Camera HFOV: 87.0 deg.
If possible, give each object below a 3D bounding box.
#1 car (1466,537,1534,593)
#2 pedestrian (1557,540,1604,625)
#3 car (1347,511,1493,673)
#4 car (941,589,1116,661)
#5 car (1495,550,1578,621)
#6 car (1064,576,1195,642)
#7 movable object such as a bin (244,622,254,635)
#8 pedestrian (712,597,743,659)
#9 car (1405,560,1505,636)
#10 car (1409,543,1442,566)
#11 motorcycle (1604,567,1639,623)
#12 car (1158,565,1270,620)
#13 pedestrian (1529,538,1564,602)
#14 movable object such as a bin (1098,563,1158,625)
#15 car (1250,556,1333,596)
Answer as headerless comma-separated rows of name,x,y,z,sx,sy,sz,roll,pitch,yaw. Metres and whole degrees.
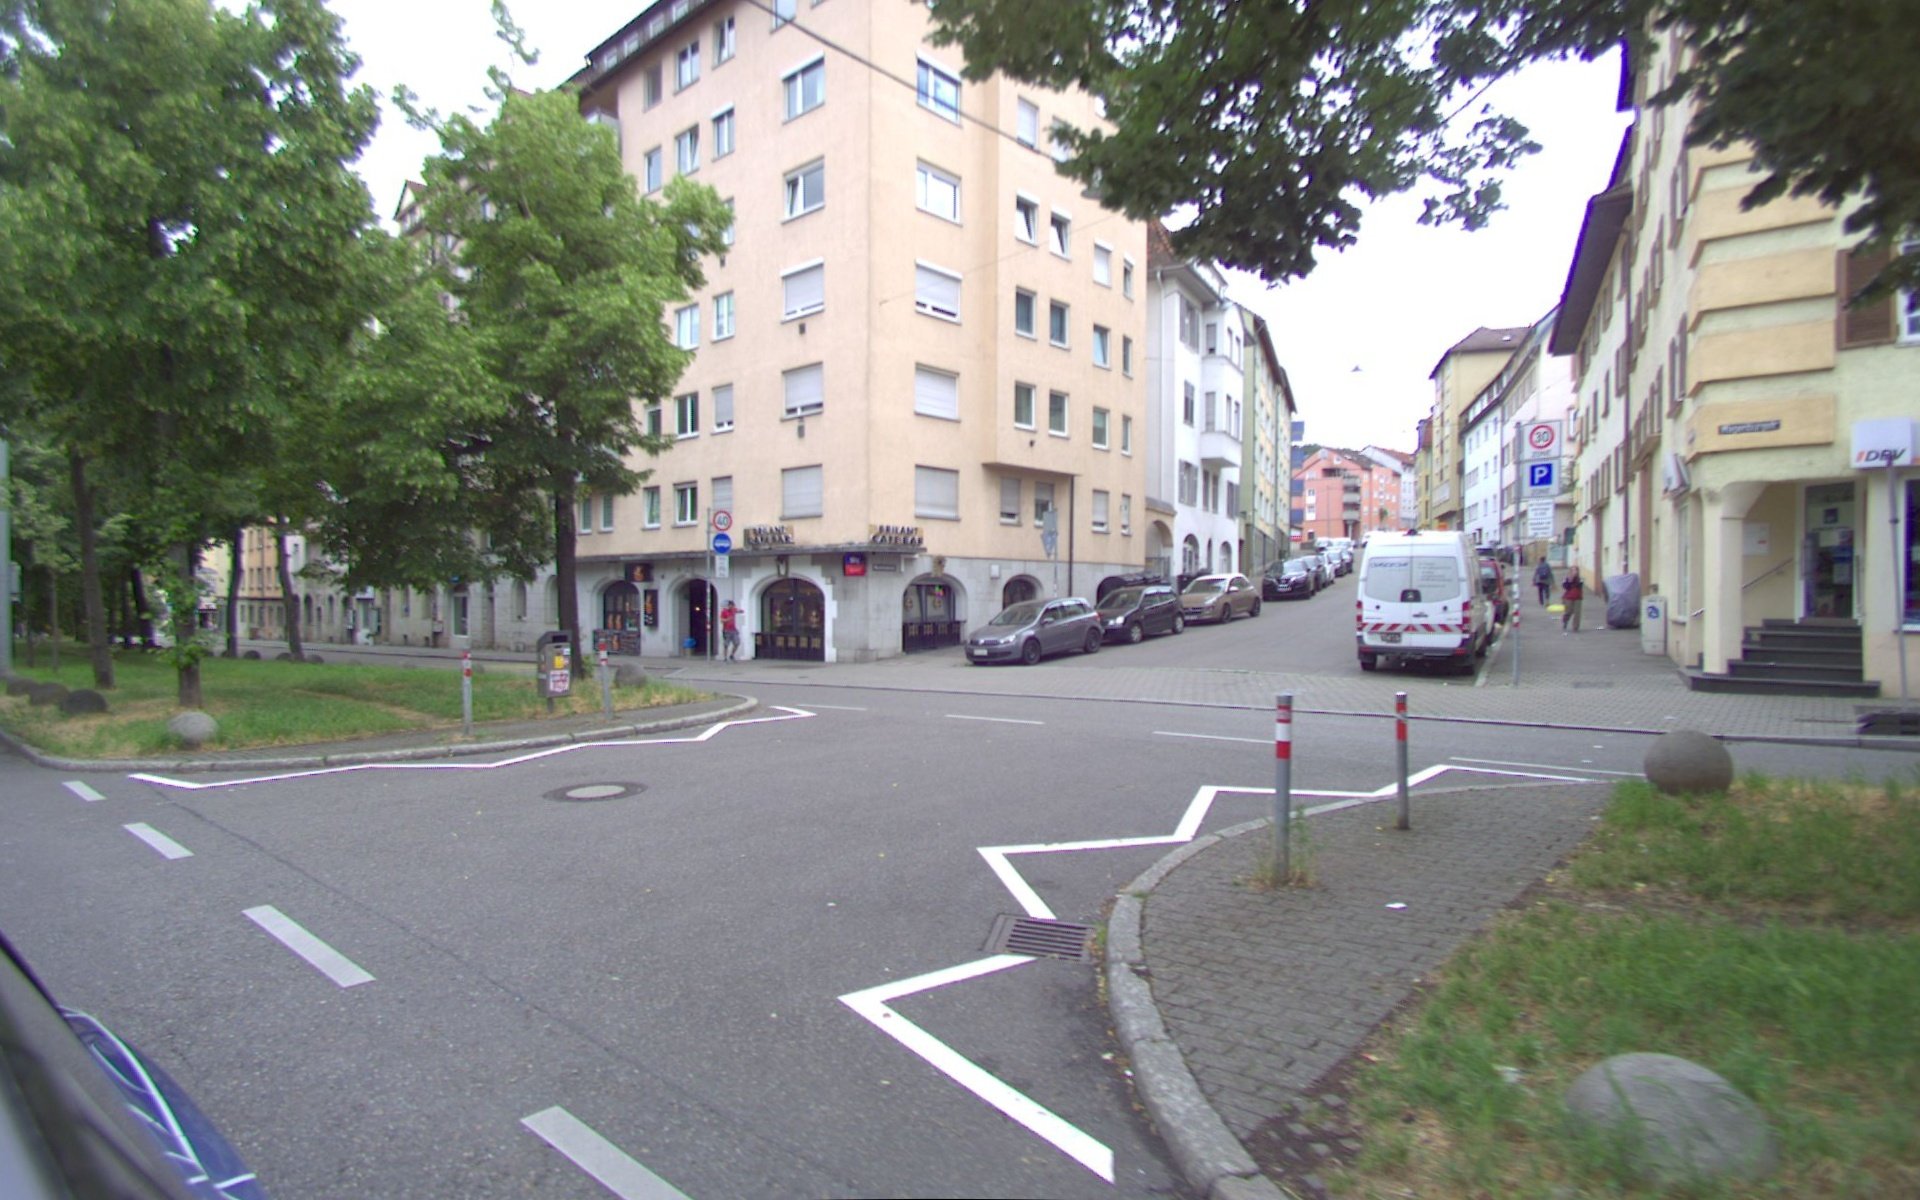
car,20.884,-1.321,39.050,1.994,2.029,3.956,-1,1,32
pedestrian,15.056,-0.413,24.563,0.818,2.029,0.803,-1,0,41
car,9.309,-0.309,20.202,2.168,2.756,5.139,-1,4,30
car,1.771,0.578,24.975,2.048,1.430,4.242,-2,2,43
car,16.129,-0.408,28.236,1.802,1.837,3.956,-1,1,32
car,4.828,0.206,28.460,1.997,1.430,3.952,-1,5,37
movable object such as a bin,-52.690,2.089,75.019,0.506,0.934,0.780,-2,0,-43
pedestrian,-6.409,0.756,27.911,0.701,1.679,0.526,-1,-1,43
car,12.266,-0.111,24.929,1.991,1.648,4.726,-1,2,29
car,37.708,-3.688,82.102,1.984,1.791,3.976,-1,1,18
motorcycle,16.506,-0.128,25.286,0.682,1.344,1.844,-1,0,33
car,8.188,-0.258,32.413,1.902,1.430,3.992,-1,4,39
pedestrian,18.987,-0.971,32.751,0.818,2.029,0.803,-1,0,41
movable object such as a bin,5.720,-0.219,34.460,1.094,2.029,1.972,-1,1,42
car,13.260,-0.969,40.332,1.996,1.453,3.952,-1,1,36
